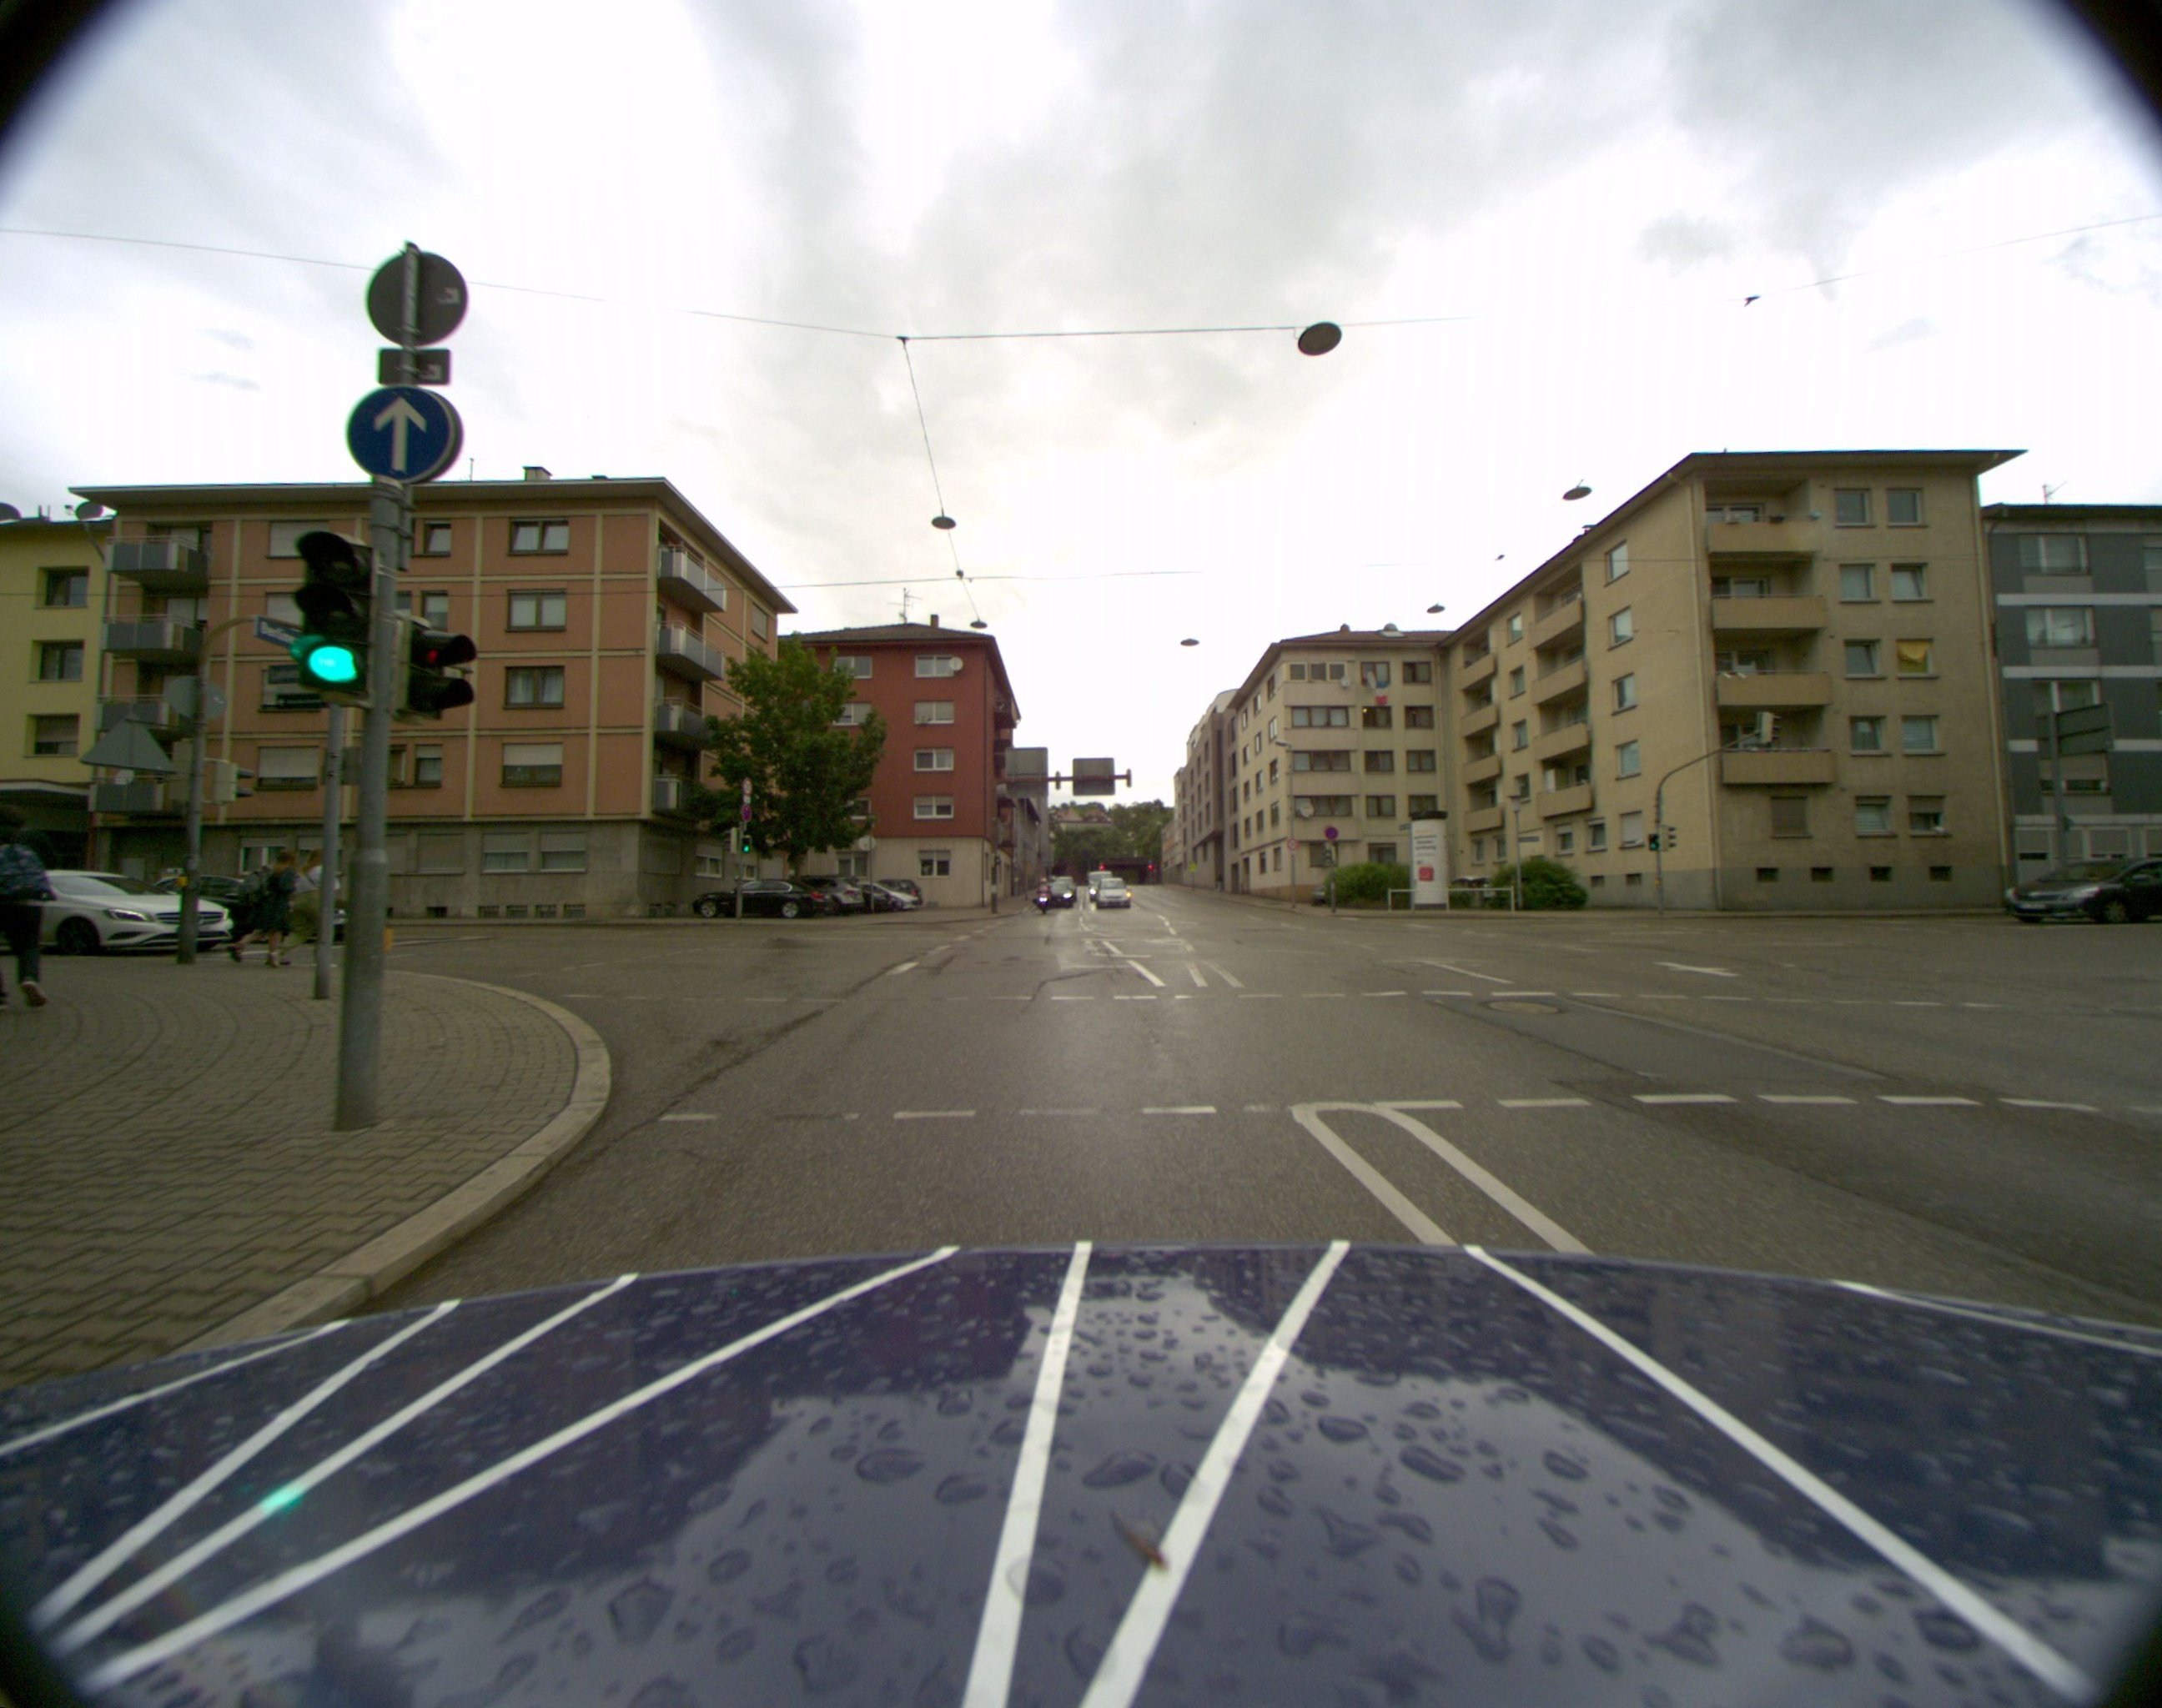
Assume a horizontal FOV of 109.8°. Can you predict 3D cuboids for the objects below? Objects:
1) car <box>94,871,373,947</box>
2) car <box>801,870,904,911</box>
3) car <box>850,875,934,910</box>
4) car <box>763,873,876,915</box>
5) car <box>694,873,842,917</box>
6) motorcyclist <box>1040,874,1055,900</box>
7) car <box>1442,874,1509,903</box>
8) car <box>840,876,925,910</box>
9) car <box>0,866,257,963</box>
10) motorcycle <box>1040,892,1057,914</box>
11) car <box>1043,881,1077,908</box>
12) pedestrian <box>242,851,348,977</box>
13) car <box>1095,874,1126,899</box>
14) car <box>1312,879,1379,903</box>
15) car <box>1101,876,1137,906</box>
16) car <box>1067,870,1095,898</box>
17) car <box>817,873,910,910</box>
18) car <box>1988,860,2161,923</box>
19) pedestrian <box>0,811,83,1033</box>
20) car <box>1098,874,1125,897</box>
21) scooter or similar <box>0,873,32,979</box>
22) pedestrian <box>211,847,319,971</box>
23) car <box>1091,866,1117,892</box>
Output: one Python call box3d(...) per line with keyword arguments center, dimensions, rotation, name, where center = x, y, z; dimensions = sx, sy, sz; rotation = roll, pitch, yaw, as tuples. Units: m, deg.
box3d(center=(-18.131, 1.153, 16.405), dimensions=(3.996, 1.480, 1.851), rotation=(-1, -2, 1), name="car")
box3d(center=(-10.340, 1.647, 34.476), dimensions=(3.993, 1.708, 1.996), rotation=(-2, -2, 12), name="car")
box3d(center=(-10.474, 2.172, 42.227), dimensions=(3.993, 1.694, 2.003), rotation=(-3, -4, 13), name="car")
box3d(center=(-10.823, 1.659, 31.668), dimensions=(3.997, 1.650, 1.994), rotation=(-1, -2, 1), name="car")
box3d(center=(-11.706, 1.536, 28.639), dimensions=(4.791, 1.545, 1.851), rotation=(1, -2, 3), name="car")
box3d(center=(-1.593, 1.586, 36.168), dimensions=(0.654, 1.216, 0.658), rotation=(-1, -1, -6), name="motorcyclist")
box3d(center=(21.054, 1.810, 40.669), dimensions=(1.765, 1.465, 3.325), rotation=(-2, -1, -1), name="car")
box3d(center=(-10.303, 2.071, 39.431), dimensions=(3.992, 1.571, 1.678), rotation=(-3, -5, 19), name="car")
box3d(center=(-17.074, 1.007, 13.000), dimensions=(3.996, 1.503, 1.851), rotation=(-1, -2, 1), name="car")
box3d(center=(-1.571, 2.308, 36.121), dimensions=(0.637, 0.921, 2.364), rotation=(-2, -1, -6), name="motorcycle")
box3d(center=(-1.282, 2.351, 44.805), dimensions=(1.875, 1.433, 4.000), rotation=(-1, -2, -3), name="car")
box3d(center=(-10.665, 0.820, 10.351), dimensions=(0.760, 1.636, 0.708), rotation=(5, -6, -35), name="pedestrian")
box3d(center=(1.860, 2.069, 48.924), dimensions=(1.848, 1.545, 4.001), rotation=(-1, -2, 1), name="car")
box3d(center=(14.966, 2.101, 43.095), dimensions=(3.260, 1.185, 1.383), rotation=(-2, -3, 0), name="car")
box3d(center=(2.025, 1.985, 41.673), dimensions=(1.839, 1.545, 4.002), rotation=(-1, -2, 1), name="car")
box3d(center=(0.007, 2.118, 53.044), dimensions=(1.794, 1.716, 4.003), rotation=(-2, -4, 0), name="car")
box3d(center=(-10.561, 1.845, 36.989), dimensions=(3.992, 1.687, 1.804), rotation=(-2, -4, 16), name="car")
box3d(center=(25.745, 0.939, 18.999), dimensions=(4.069, 1.471, 1.734), rotation=(0, -3, -1), name="car")
box3d(center=(-9.233, 0.548, 6.400), dimensions=(0.756, 1.806, 0.915), rotation=(4, -3, -41), name="pedestrian")
box3d(center=(2.134, 2.229, 53.808), dimensions=(1.848, 1.545, 4.002), rotation=(-1, -2, 2), name="car")
box3d(center=(-12.198, 0.776, 8.110), dimensions=(0.502, 1.182, 1.559), rotation=(0, -5, -28), name="scooter or similar")
box3d(center=(-11.285, 0.774, 10.544), dimensions=(0.760, 1.636, 0.708), rotation=(5, -6, -35), name="pedestrian")
box3d(center=(1.909, 2.070, 61.293), dimensions=(1.942, 1.903, 4.859), rotation=(-2, -4, 2), name="car")
